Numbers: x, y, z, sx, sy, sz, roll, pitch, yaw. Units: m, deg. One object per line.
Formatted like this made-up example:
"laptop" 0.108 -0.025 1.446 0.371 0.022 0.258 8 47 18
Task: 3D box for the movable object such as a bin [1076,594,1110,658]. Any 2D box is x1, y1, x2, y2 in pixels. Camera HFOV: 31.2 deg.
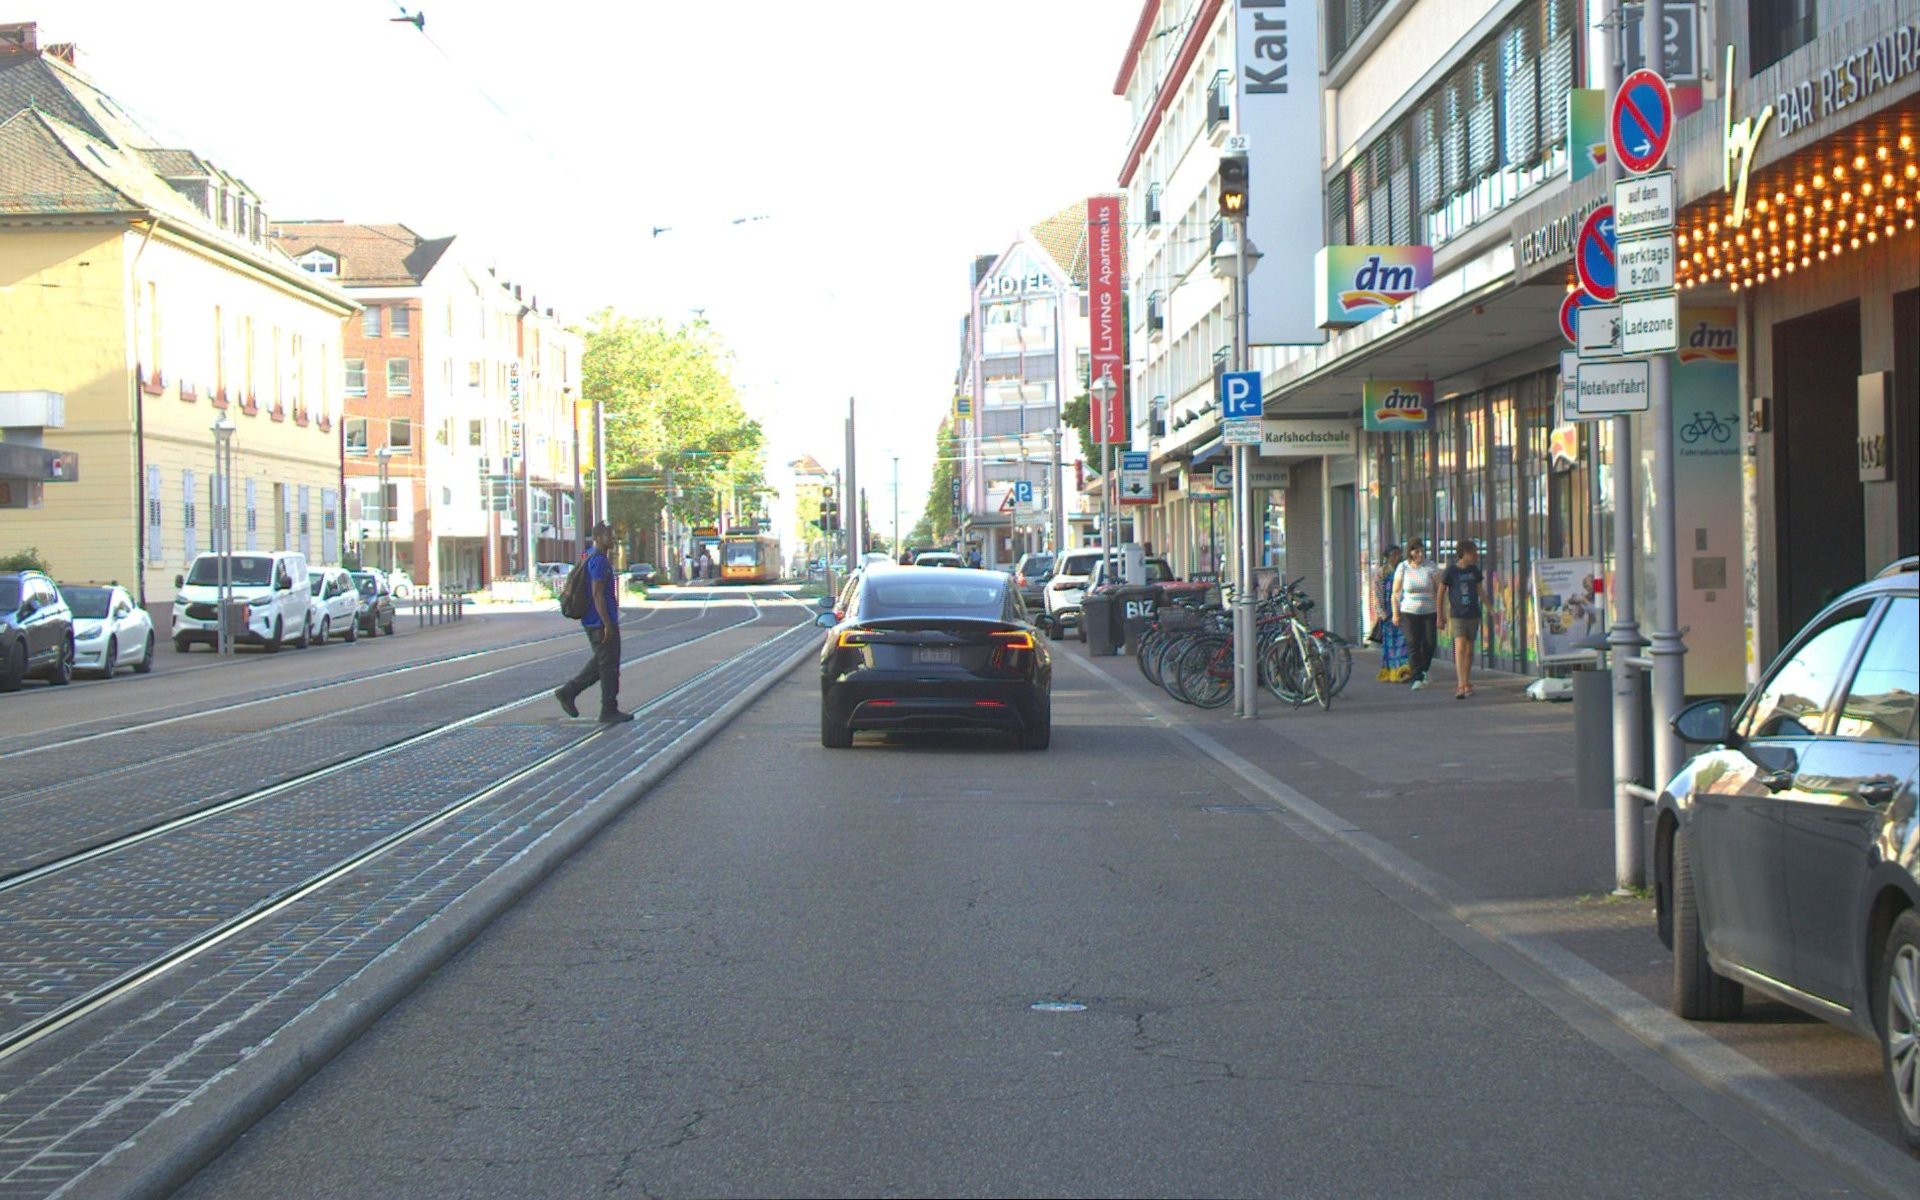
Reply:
"movable object such as a bin" 2.033 0.399 52.519 0.487 0.955 0.457 -2 0 3

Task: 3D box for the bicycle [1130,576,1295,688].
"bicycle" 2.881 0.359 39.337 1.787 1.213 0.669 -2 1 -1

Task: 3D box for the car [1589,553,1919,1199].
"car" 3.039 0.616 9.370 1.721 1.479 4.416 -3 1 -1

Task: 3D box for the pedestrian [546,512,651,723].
"pedestrian" -3.242 0.152 30.889 0.804 1.831 0.746 -3 0 -2

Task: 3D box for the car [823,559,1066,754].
"car" -0.170 0.415 28.153 1.849 1.479 3.787 0 0 -2

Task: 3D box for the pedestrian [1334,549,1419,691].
"pedestrian" 4.467 0.214 36.915 0.581 1.481 0.597 -3 1 -31

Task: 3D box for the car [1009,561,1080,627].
"car" 2.248 -0.182 92.226 1.745 1.626 3.649 -2 1 0

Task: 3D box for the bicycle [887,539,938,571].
"bicycle" -1.677 -1.572 120.968 1.727 1.084 0.678 1 0 -8

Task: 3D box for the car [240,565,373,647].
"car" -13.976 0.106 73.724 1.808 1.680 4.648 1 0 2

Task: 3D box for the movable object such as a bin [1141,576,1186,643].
"movable object such as a bin" 3.137 0.149 53.063 0.658 1.010 0.636 -2 0 2

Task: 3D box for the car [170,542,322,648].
"car" -13.961 -0.112 67.511 1.993 1.968 5.097 1 0 -1

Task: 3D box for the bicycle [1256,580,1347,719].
"bicycle" 3.242 0.456 32.749 0.581 1.253 1.602 -3 1 -2

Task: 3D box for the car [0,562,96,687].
"car" -13.786 0.297 48.546 1.978 1.673 4.655 1 0 0

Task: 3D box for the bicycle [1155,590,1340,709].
"bicycle" 2.907 0.498 34.828 1.773 1.127 0.479 -2 1 -6

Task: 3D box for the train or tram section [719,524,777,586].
"train or tram section" -13.036 -2.757 212.600 2.674 3.703 14.193 1 1 0

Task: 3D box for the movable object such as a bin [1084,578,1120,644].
"movable object such as a bin" 2.226 0.167 53.883 0.522 1.010 0.671 -2 0 2

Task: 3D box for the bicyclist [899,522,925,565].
"bicyclist" -1.688 -1.988 120.959 0.836 1.494 0.560 1 0 -8

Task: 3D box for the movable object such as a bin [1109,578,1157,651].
"movable object such as a bin" 2.632 0.220 52.423 0.690 1.085 0.685 -2 0 3

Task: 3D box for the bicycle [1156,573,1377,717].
"bicycle" 3.034 0.433 34.036 2.035 1.270 0.525 -4 1 -10

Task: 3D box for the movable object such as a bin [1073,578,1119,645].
"movable object such as a bin" 2.107 0.180 53.217 0.686 1.010 0.508 -2 0 2

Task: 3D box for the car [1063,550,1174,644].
"car" 2.707 -0.068 59.483 1.614 1.523 4.070 -2 1 -1

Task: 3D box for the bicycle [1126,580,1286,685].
"bicycle" 2.883 0.380 40.372 1.787 1.155 0.669 -2 1 -1

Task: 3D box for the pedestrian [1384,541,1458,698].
"pedestrian" 4.763 0.198 35.526 0.581 1.580 0.598 -3 0 -2

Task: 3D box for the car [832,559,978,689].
"car" -0.616 0.246 41.164 1.653 1.413 4.000 1 1 0

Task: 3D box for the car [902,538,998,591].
"car" -0.314 -1.054 102.415 1.783 1.514 4.219 1 1 -16

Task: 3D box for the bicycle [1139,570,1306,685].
"bicycle" 2.934 0.303 38.509 1.787 1.213 0.587 -2 1 -1

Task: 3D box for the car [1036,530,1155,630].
"car" 2.490 -0.386 64.433 1.849 1.718 5.193 -3 1 -1

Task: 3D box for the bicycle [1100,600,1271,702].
"bicycle" 2.430 0.547 37.138 1.773 1.028 0.597 -2 1 -1

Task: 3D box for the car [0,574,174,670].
"car" -13.867 0.309 54.420 1.888 1.416 4.657 1 1 -2

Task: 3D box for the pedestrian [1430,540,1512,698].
"pedestrian" 4.950 0.181 33.330 0.581 1.488 0.525 -3 0 -9

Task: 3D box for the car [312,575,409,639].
"car" -13.738 0.147 78.932 1.614 1.396 3.720 1 0 -1

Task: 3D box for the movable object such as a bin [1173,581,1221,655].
"movable object such as a bin" 3.606 0.267 52.335 0.690 1.085 0.666 -2 0 3
